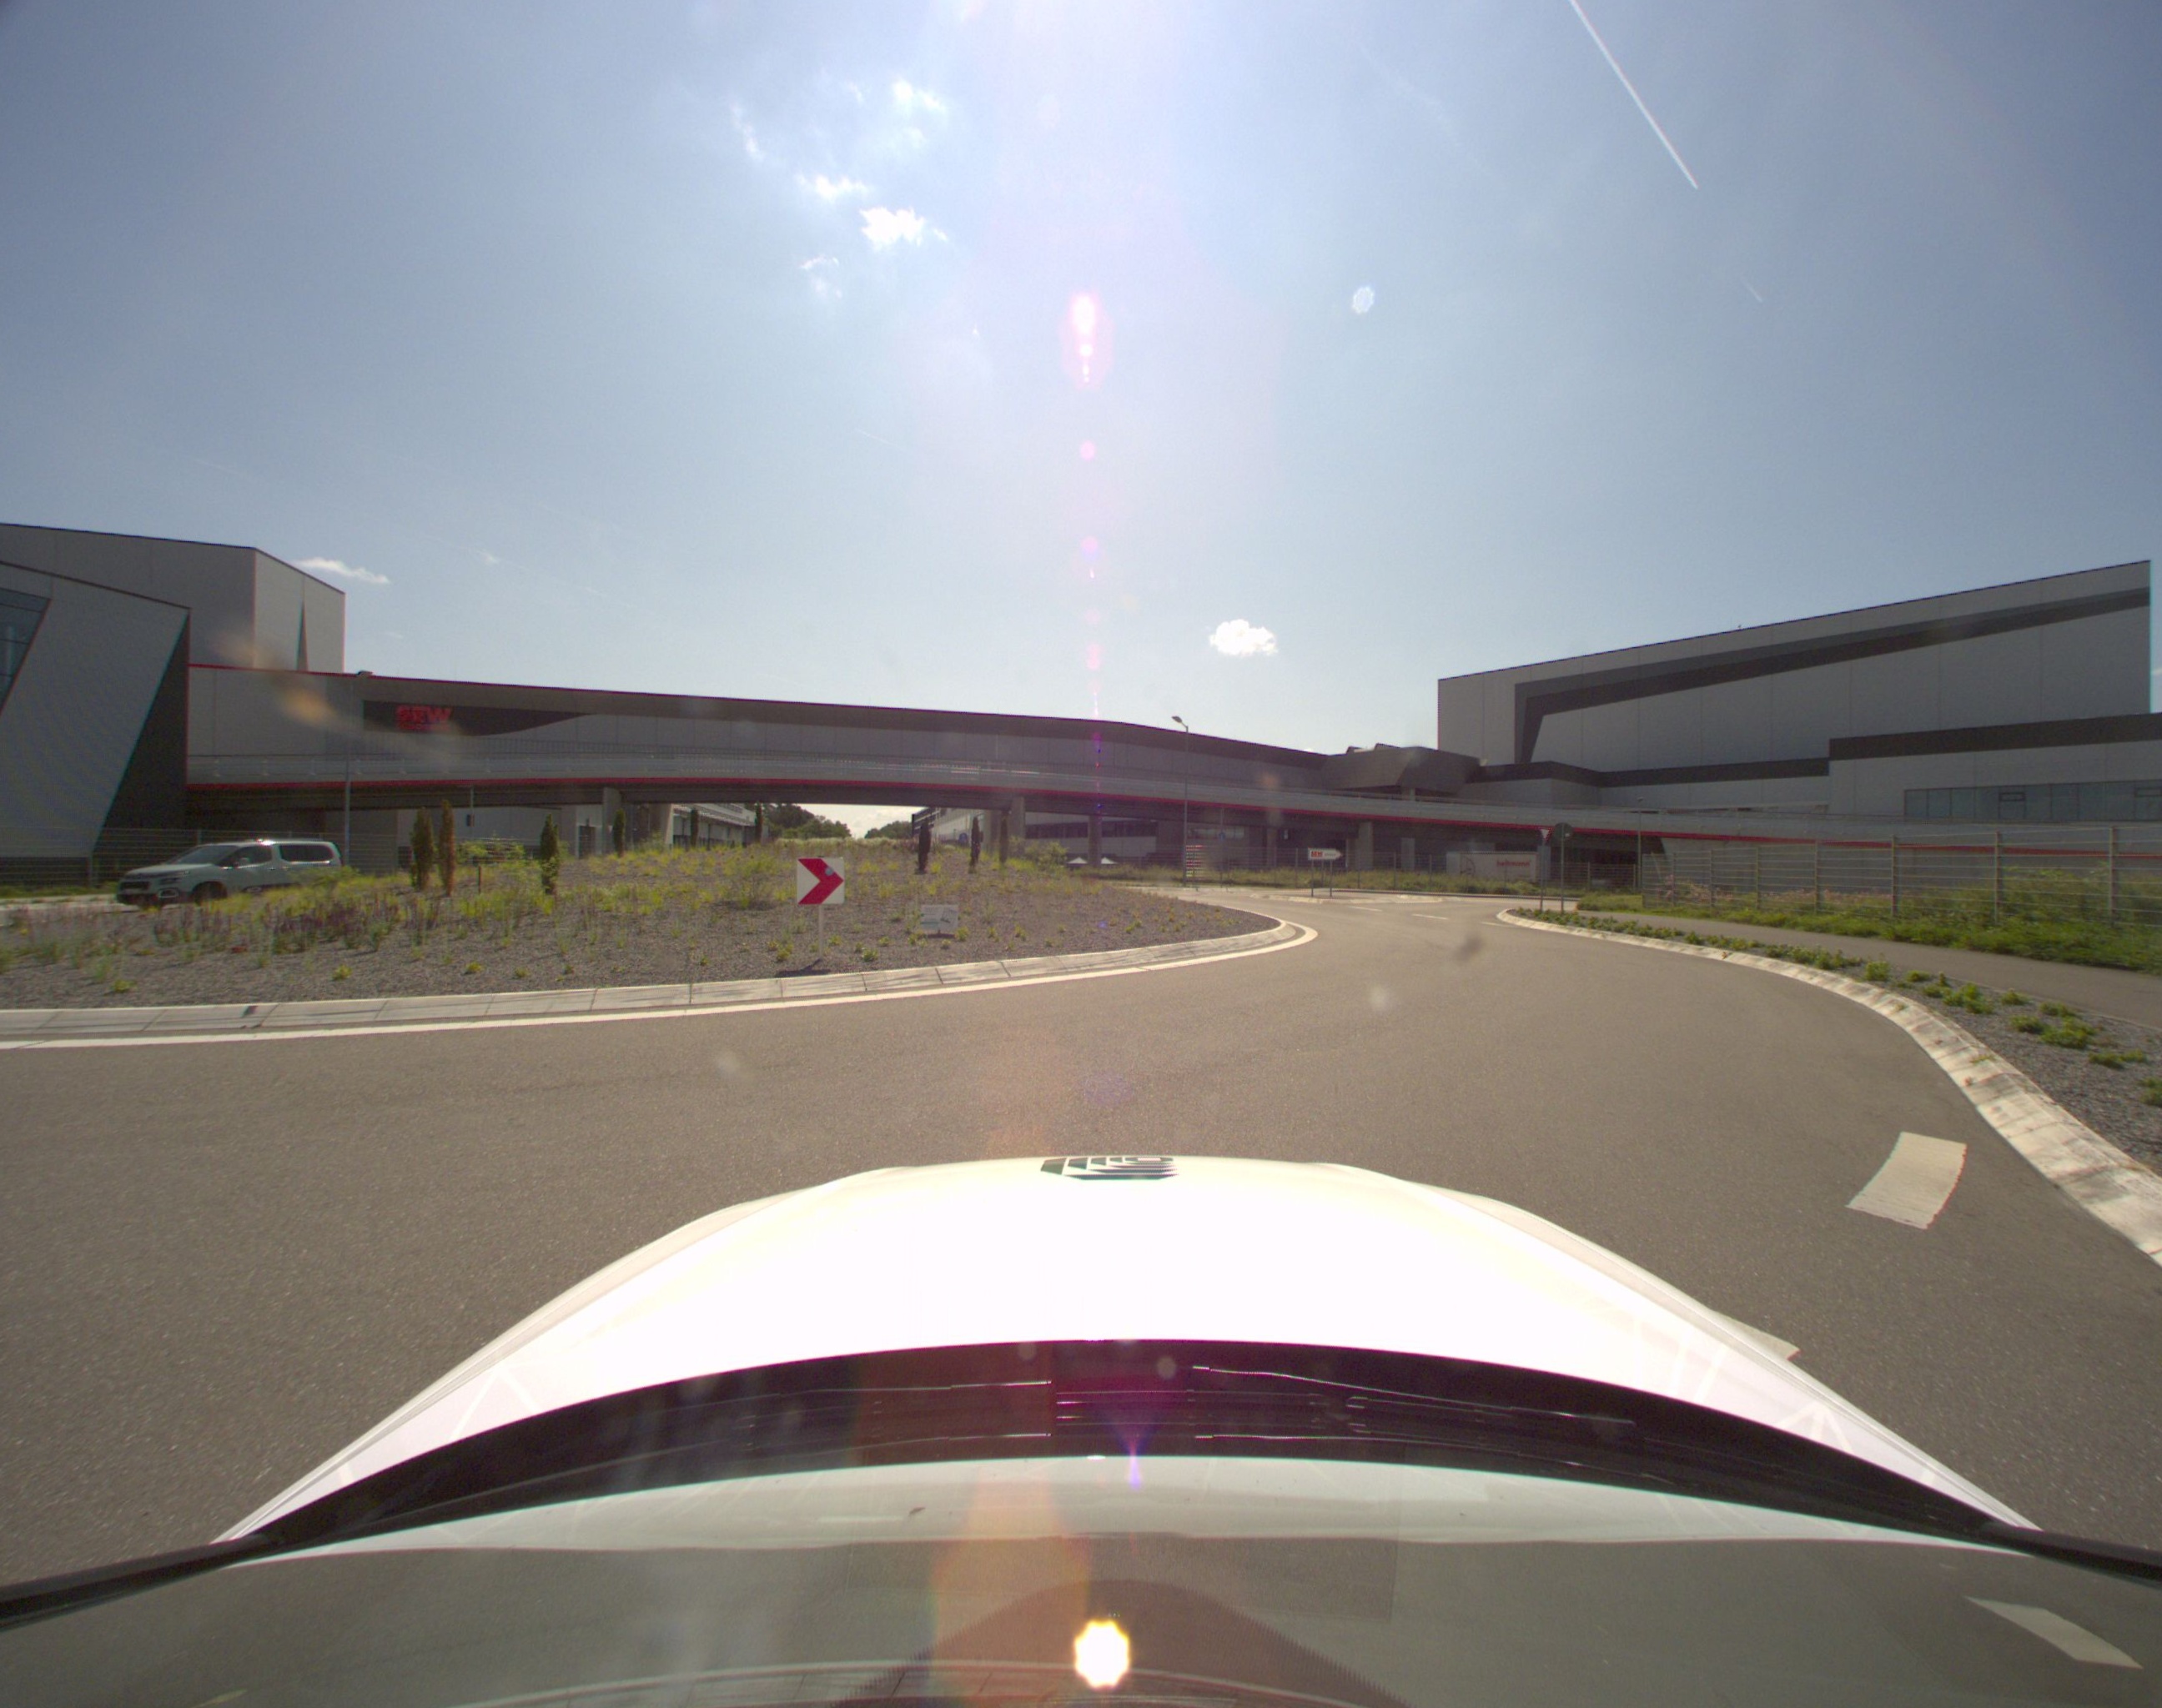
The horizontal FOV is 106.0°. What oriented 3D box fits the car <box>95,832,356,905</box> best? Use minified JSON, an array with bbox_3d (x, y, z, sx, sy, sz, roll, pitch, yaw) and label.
[{"bbox_3d":[-22.965,0.346,22.187,1.982,1.779,4.570,0,0,8],"label":"car"}]
